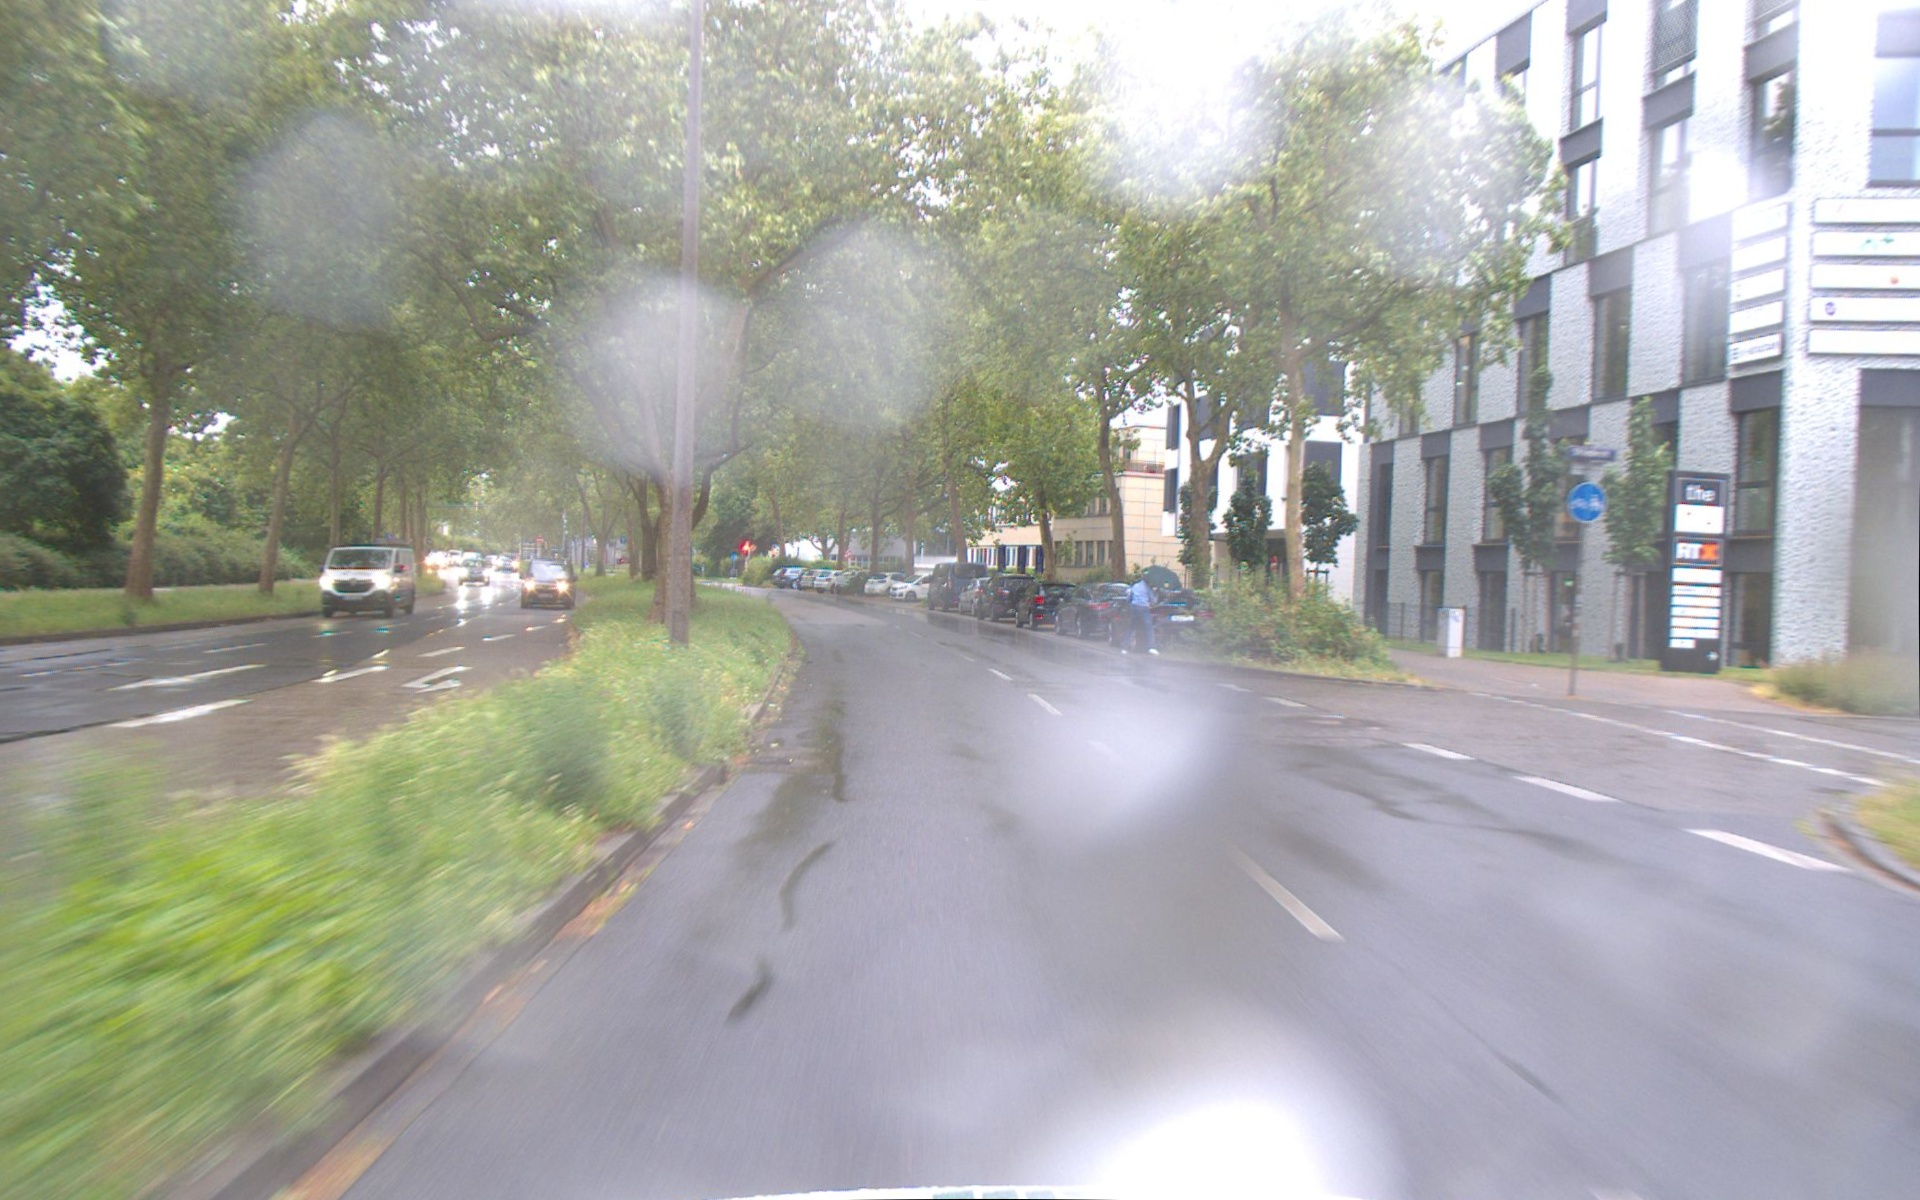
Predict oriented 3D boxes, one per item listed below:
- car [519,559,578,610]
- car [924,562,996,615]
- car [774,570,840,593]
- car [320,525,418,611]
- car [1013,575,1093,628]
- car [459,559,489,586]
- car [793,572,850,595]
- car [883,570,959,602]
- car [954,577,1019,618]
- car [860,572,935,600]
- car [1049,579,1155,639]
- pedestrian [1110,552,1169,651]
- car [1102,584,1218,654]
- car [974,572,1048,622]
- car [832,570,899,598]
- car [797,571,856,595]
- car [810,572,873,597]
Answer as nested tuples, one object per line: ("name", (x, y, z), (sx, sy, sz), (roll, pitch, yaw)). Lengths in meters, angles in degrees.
("car", (-15.167, -0.596, 61.055), (1.995, 1.766, 4.937), (2, 1, -14))
("car", (-0.039, -0.513, 69.074), (2.082, 2.063, 5.516), (2, 1, -9))
("car", (-10.913, -1.344, 118.275), (4.445, 1.484, 1.727), (1, 1, -36))
("car", (-16.806, -0.918, 47.302), (1.995, 2.265, 5.416), (2, 1, -13))
("car", (2.771, 0.020, 50.043), (1.710, 1.502, 4.077), (2, 1, -6))
("car", (-30.785, -1.749, 104.800), (1.715, 1.588, 4.349), (2, 1, -16))
("car", (-9.517, -1.134, 113.575), (1.720, 1.441, 3.666), (2, 1, 45))
("car", (-2.051, -0.736, 86.914), (3.595, 1.530, 1.733), (1, 2, -29))
("car", (0.989, -0.120, 63.845), (1.711, 1.494, 4.297), (2, 1, -9))
("car", (-3.417, -0.760, 91.049), (1.720, 1.453, 4.009), (2, 1, 45))
("car", (3.703, 0.203, 44.110), (1.710, 1.453, 5.095), (2, 1, -8))
("pedestrian", (3.802, 0.032, 35.115), (0.892, 2.049, 0.820), (1, 1, -43))
("car", (4.465, 0.387, 37.608), (1.709, 1.453, 4.856), (-1, 1, -4))
("car", (1.723, -0.138, 57.067), (1.711, 1.593, 4.362), (2, 1, -9))
("car", (-5.706, -0.963, 100.130), (1.719, 1.566, 4.012), (2, 1, 43))
("car", (-8.923, -1.122, 110.352), (1.746, 1.441, 3.666), (2, 1, 44))
("car", (-7.526, -0.988, 105.004), (3.660, 1.441, 1.723), (1, 1, -42))
